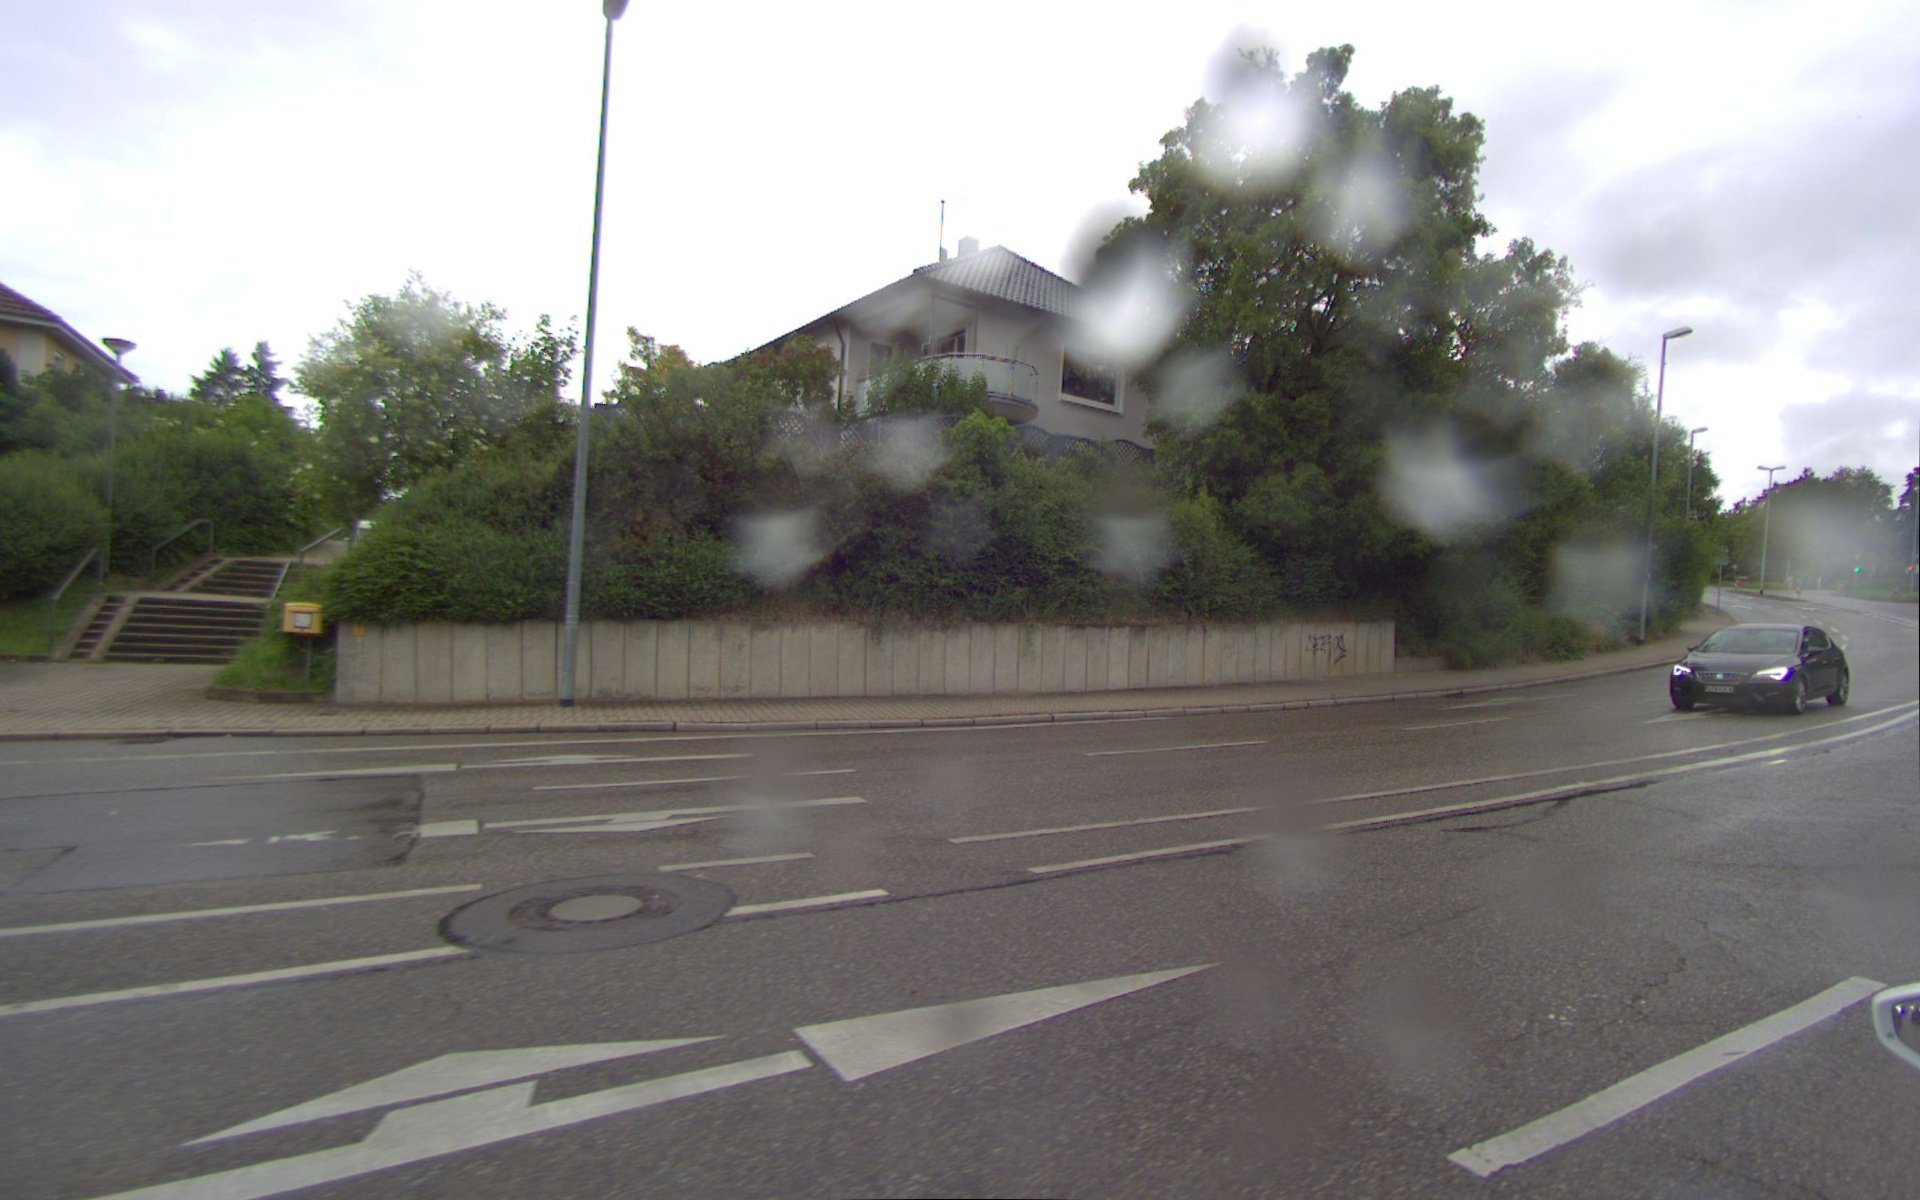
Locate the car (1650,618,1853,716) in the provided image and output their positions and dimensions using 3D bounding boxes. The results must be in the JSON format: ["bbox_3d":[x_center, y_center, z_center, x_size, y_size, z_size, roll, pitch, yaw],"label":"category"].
[{"bbox_3d":[13.900,1.108,17.562,4.197,1.506,1.877,2,-2,-38],"label":"car"}]
